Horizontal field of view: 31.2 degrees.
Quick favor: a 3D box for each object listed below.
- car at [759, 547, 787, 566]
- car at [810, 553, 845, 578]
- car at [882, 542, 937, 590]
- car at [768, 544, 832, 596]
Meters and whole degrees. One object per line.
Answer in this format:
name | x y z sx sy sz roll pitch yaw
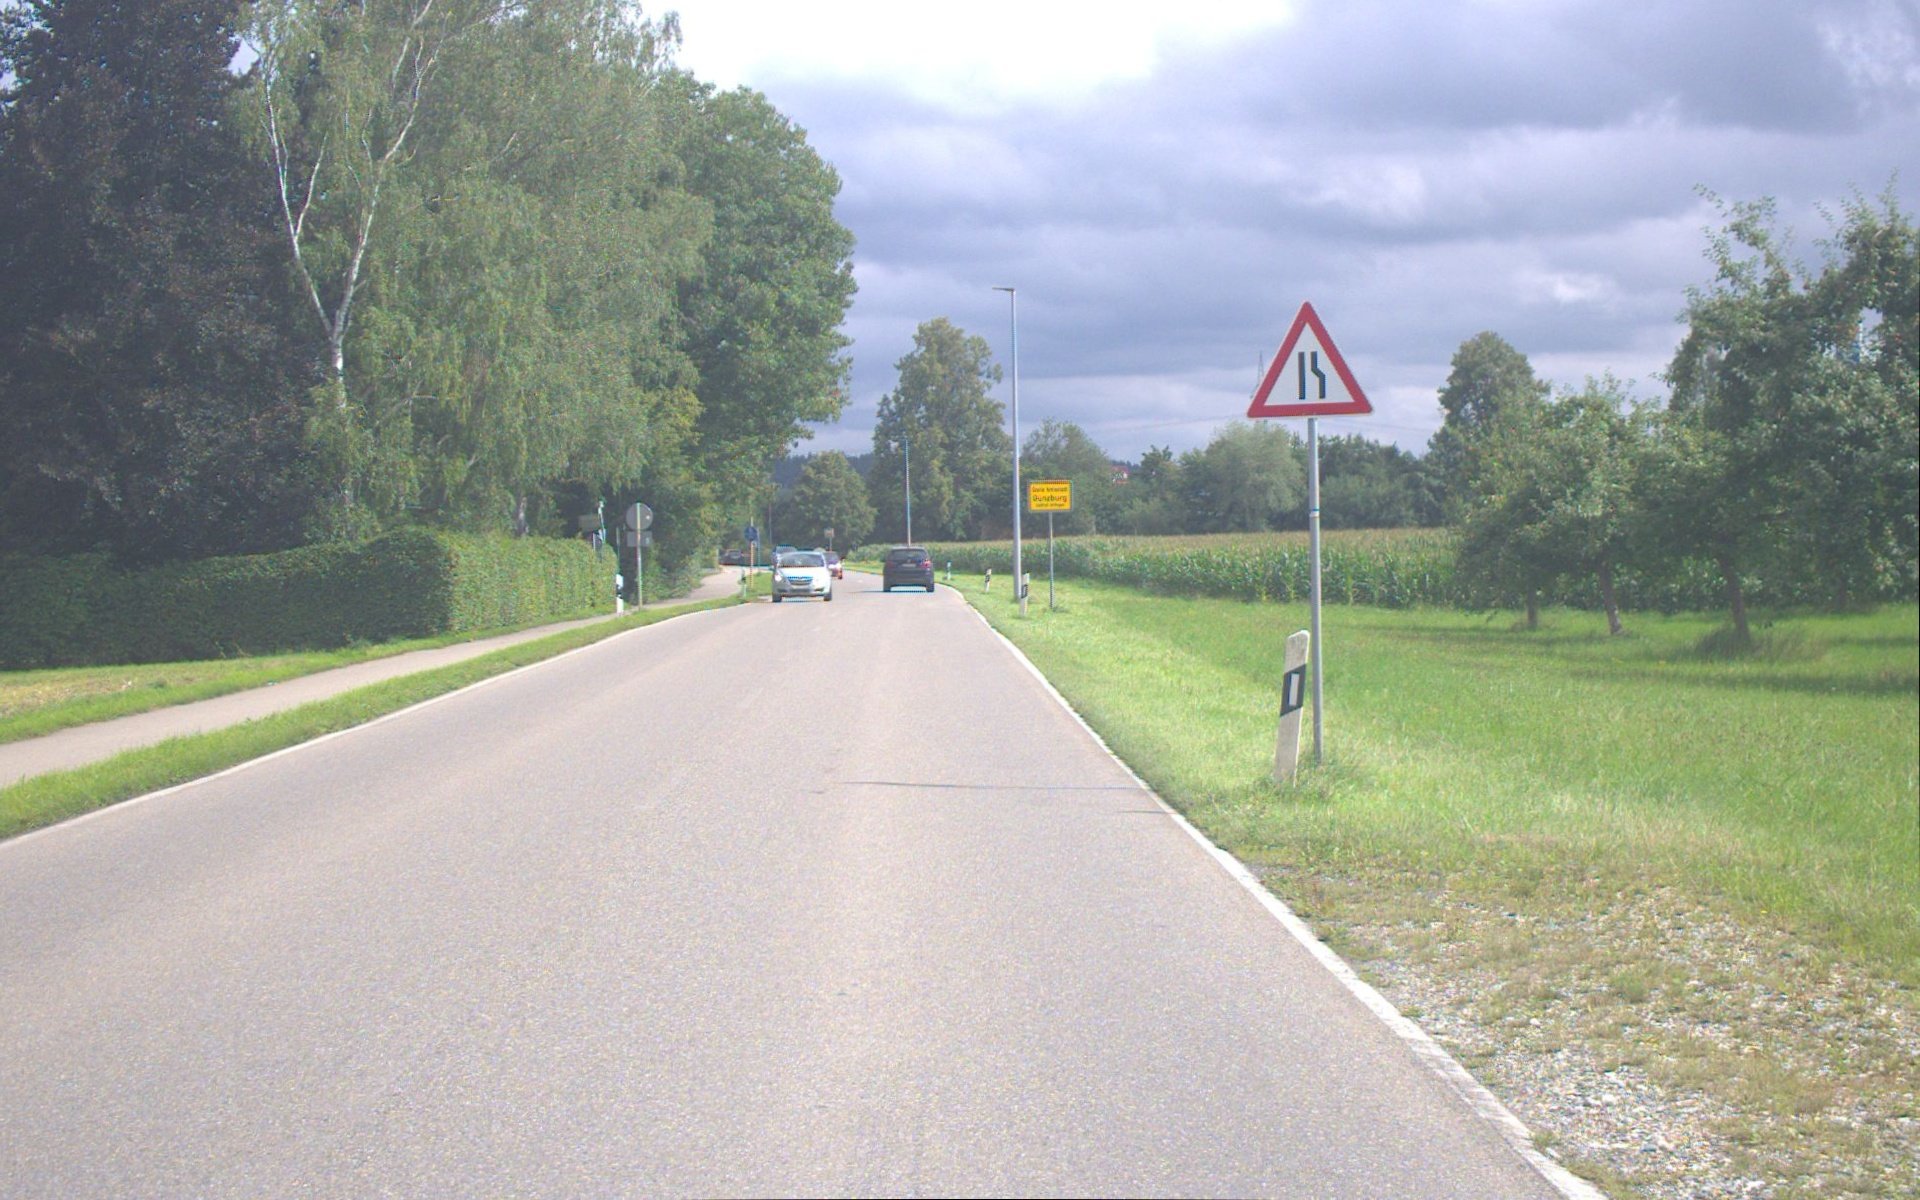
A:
car | -12.911 -3.027 237.841 1.745 1.218 3.543 -2 1 -1
car | -6.982 -1.812 181.508 1.745 1.218 3.543 -2 0 -1
car | -1.884 -1.252 126.533 1.906 1.660 4.000 -2 1 -2
car | -4.621 -0.871 99.564 1.695 1.454 3.543 -1 1 -1
